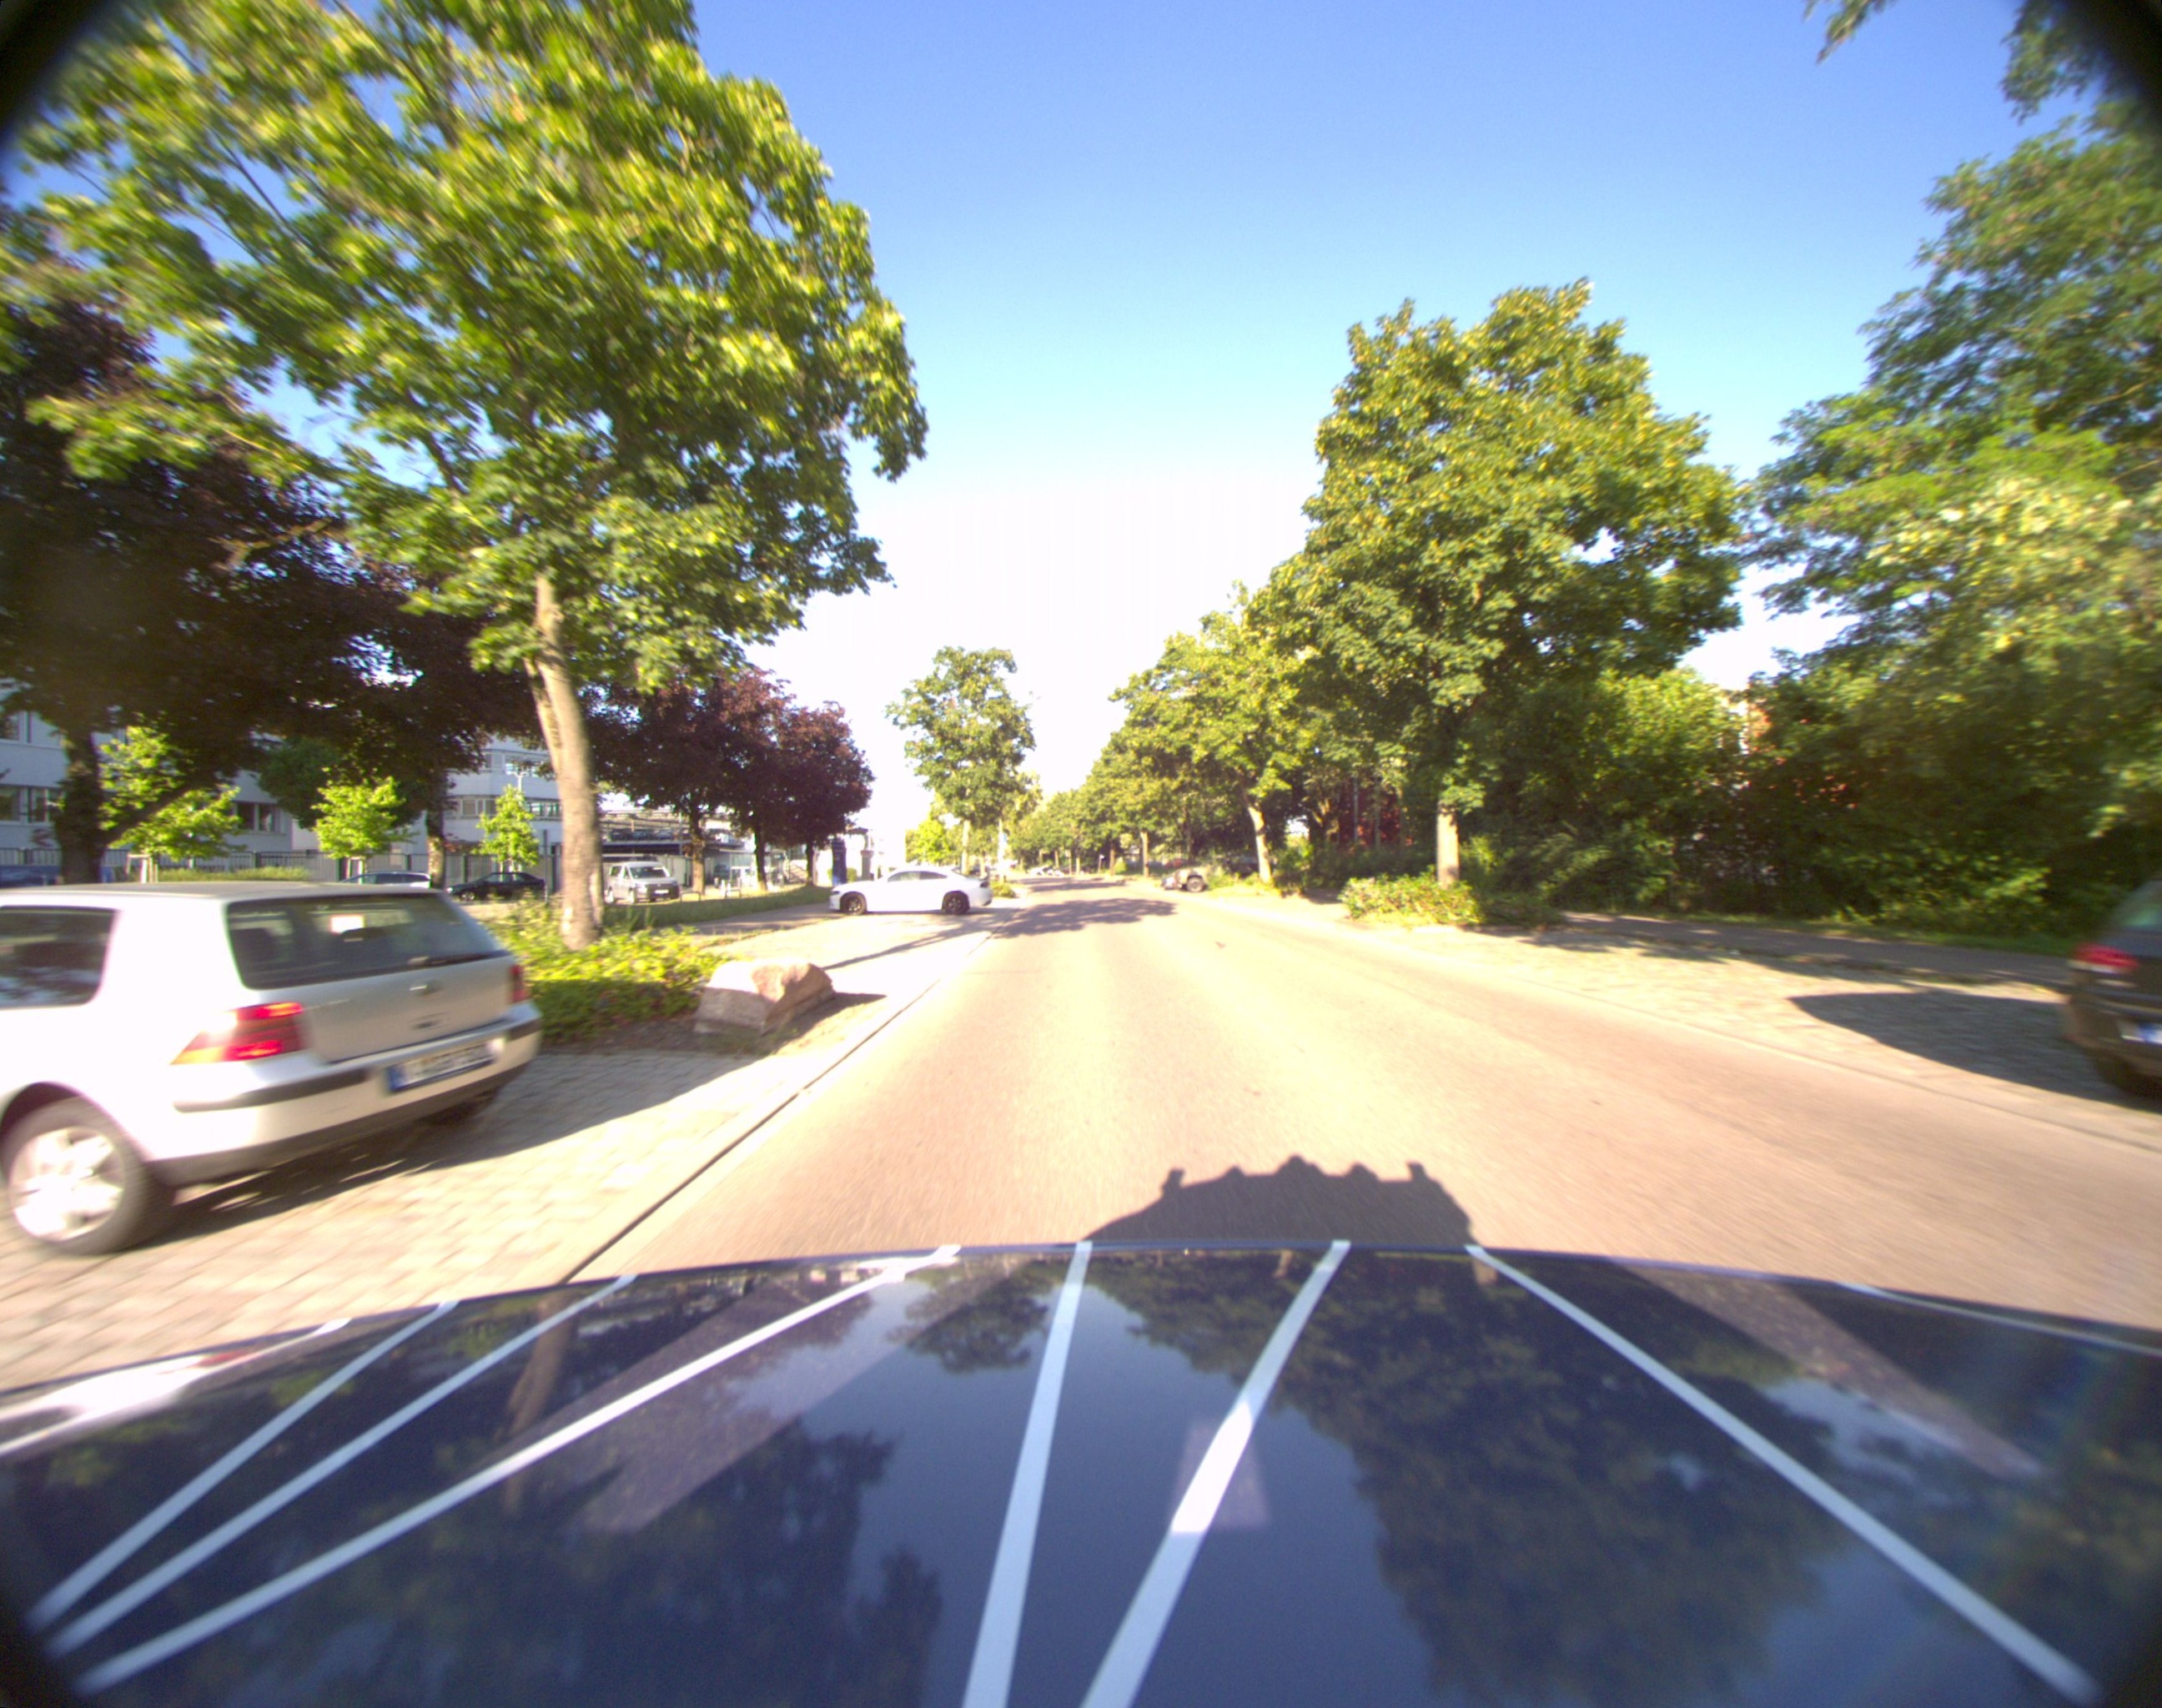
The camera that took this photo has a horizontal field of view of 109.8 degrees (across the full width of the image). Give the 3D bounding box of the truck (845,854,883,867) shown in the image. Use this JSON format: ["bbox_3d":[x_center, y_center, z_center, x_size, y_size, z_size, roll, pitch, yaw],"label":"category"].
[{"bbox_3d":[-58.965,1.841,206.757,10.095,3.623,3.301,0,0,23],"label":"truck"}]

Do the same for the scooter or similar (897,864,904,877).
[{"bbox_3d":[-17.168,1.567,72.401,0.521,1.264,1.200,-1,0,-7],"label":"scooter or similar"}]

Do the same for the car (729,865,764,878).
[{"bbox_3d":[-40.835,2.138,92.946,2.036,1.423,4.562,-1,0,4],"label":"car"}]

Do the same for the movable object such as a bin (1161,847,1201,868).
[{"bbox_3d":[12.981,0.500,98.586,4.790,2.648,2.169,-1,0,42],"label":"movable object such as a bin"}]

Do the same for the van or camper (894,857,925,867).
[{"bbox_3d":[-48.255,2.240,213.742,7.993,2.883,2.947,0,0,19],"label":"van or camper"}]

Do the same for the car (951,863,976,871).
[{"bbox_3d":[-23.333,2.577,150.428,4.608,1.575,1.997,1,-1,-15],"label":"car"}]

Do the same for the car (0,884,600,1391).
[{"bbox_3d":[-5.145,0.981,3.802,4.366,1.470,2.001,1,0,9],"label":"car"}]

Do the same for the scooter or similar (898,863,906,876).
[{"bbox_3d":[-16.747,1.434,70.990,0.521,1.264,1.386,-1,0,-7],"label":"scooter or similar"}]

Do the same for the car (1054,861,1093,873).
[{"bbox_3d":[-1.012,1.761,105.628,5.052,1.453,1.998,-2,0,-12],"label":"car"}]

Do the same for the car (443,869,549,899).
[{"bbox_3d":[-28.871,1.443,37.576,4.008,1.346,1.802,0,0,-42],"label":"car"}]

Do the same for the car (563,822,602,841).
[{"bbox_3d":[-62.616,-2.799,95.552,1.999,2.089,4.202,-3,-1,0],"label":"car"}]

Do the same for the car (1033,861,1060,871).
[{"bbox_3d":[-5.918,2.123,130.123,4.301,1.522,1.998,-2,0,-11],"label":"car"}]

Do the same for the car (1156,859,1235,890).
[{"bbox_3d":[6.680,1.210,44.677,4.224,1.521,1.705,-4,0,-5],"label":"car"}]

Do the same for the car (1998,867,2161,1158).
[{"bbox_3d":[7.809,0.746,3.663,4.370,1.470,2.000,-3,0,-1],"label":"car"}]

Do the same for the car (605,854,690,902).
[{"bbox_3d":[-18.993,1.054,33.201,2.004,1.922,4.941,0,-2,-44],"label":"car"}]

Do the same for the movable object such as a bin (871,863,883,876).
[{"bbox_3d":[-23.560,1.791,87.866,1.214,1.475,1.037,-1,0,-5],"label":"movable object such as a bin"}]

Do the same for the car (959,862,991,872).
[{"bbox_3d":[-15.630,1.878,111.811,4.497,1.395,2.031,-1,0,-12],"label":"car"}]

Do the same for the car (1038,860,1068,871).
[{"bbox_3d":[-4.588,1.870,122.588,4.495,1.522,1.998,-2,0,-12],"label":"car"}]

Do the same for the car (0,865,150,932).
[{"bbox_3d":[-28.976,1.193,20.597,4.505,1.739,1.762,0,-1,-43],"label":"car"}]

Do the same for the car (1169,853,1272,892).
[{"bbox_3d":[7.419,0.973,40.687,5.019,2.008,2.174,-1,0,-5],"label":"car"}]

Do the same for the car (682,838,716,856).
[{"bbox_3d":[-47.951,-0.866,95.431,1.999,2.089,4.202,-3,-1,0],"label":"car"}]

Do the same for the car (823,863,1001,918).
[{"bbox_3d":[-5.194,1.111,24.041,5.190,1.564,2.157,-1,0,-4],"label":"car"}]

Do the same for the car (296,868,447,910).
[{"bbox_3d":[-28.670,1.374,30.913,4.321,1.519,1.802,0,0,-38],"label":"car"}]

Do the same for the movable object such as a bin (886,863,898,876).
[{"bbox_3d":[-21.806,1.787,87.793,0.846,1.408,1.039,-2,-1,20],"label":"movable object such as a bin"}]
